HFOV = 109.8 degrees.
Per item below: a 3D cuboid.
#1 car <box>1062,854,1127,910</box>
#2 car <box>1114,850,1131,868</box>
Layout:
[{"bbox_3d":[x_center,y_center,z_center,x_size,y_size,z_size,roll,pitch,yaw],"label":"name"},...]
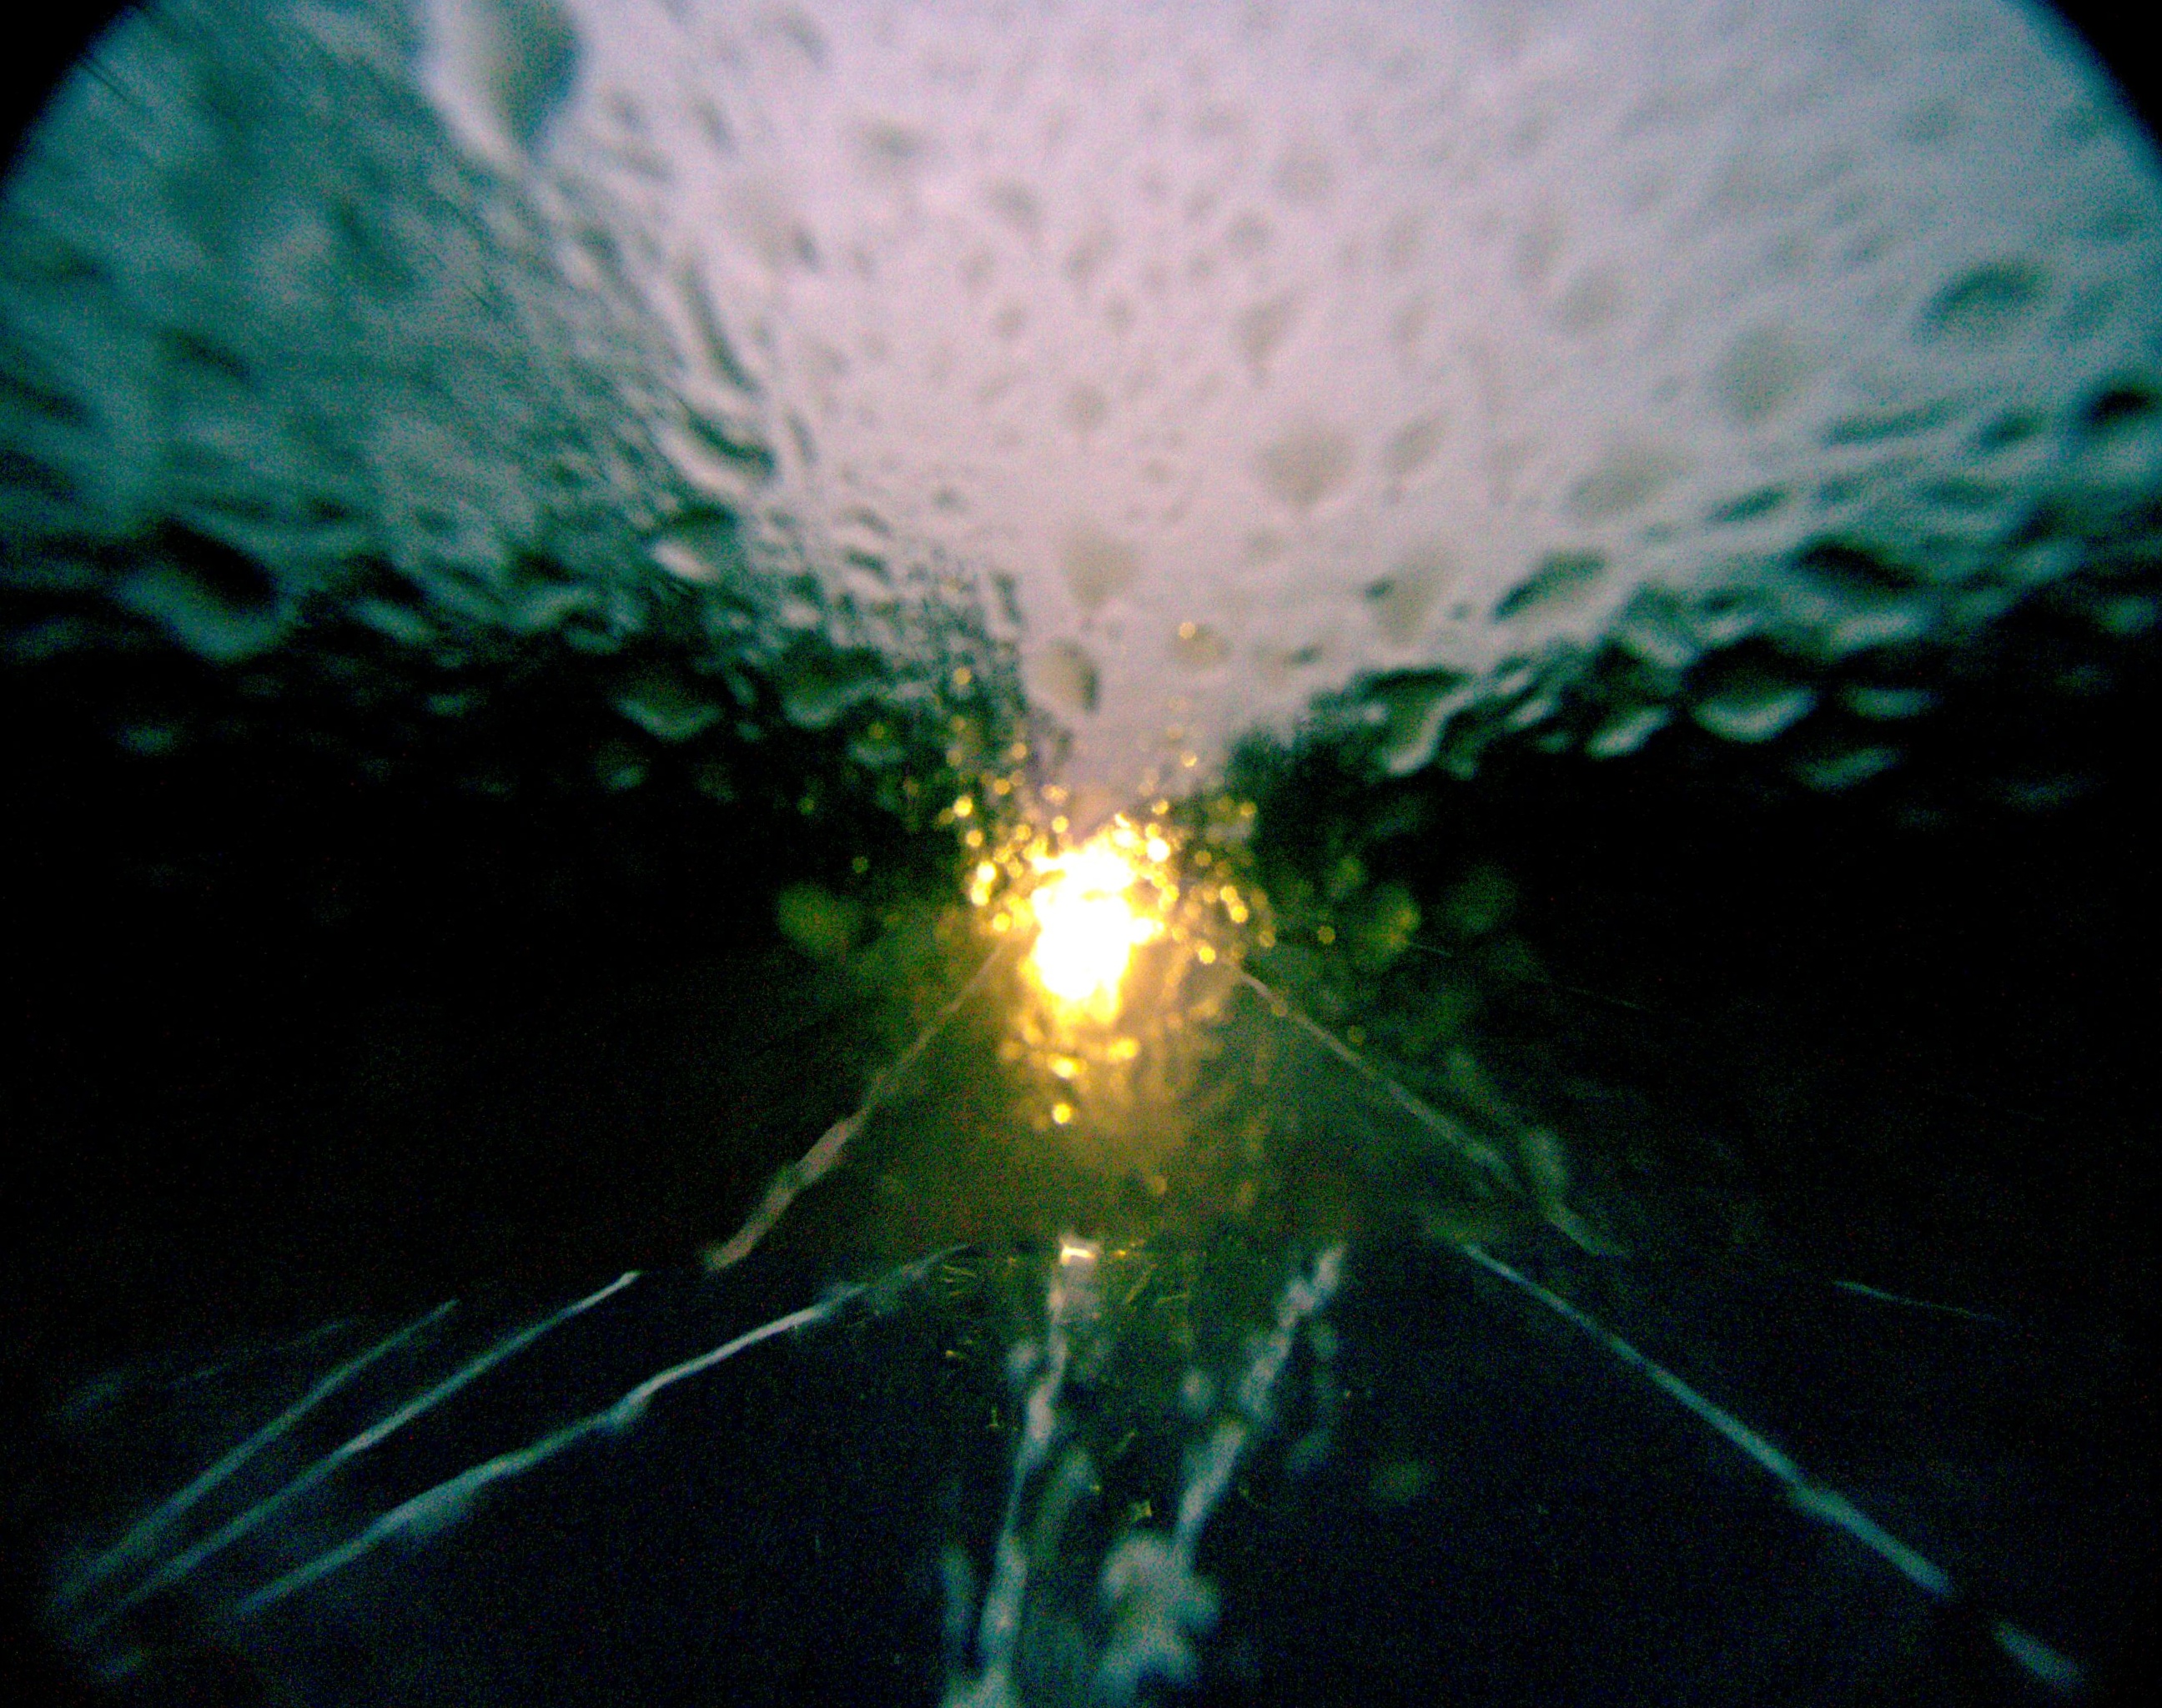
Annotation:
[{"bbox_3d":[0.440,0.888,26.086,1.998,1.672,3.999,-2,1,1],"label":"car"},{"bbox_3d":[4.440,0.519,82.367,1.678,1.727,3.837,-2,1,1],"label":"car"}]
